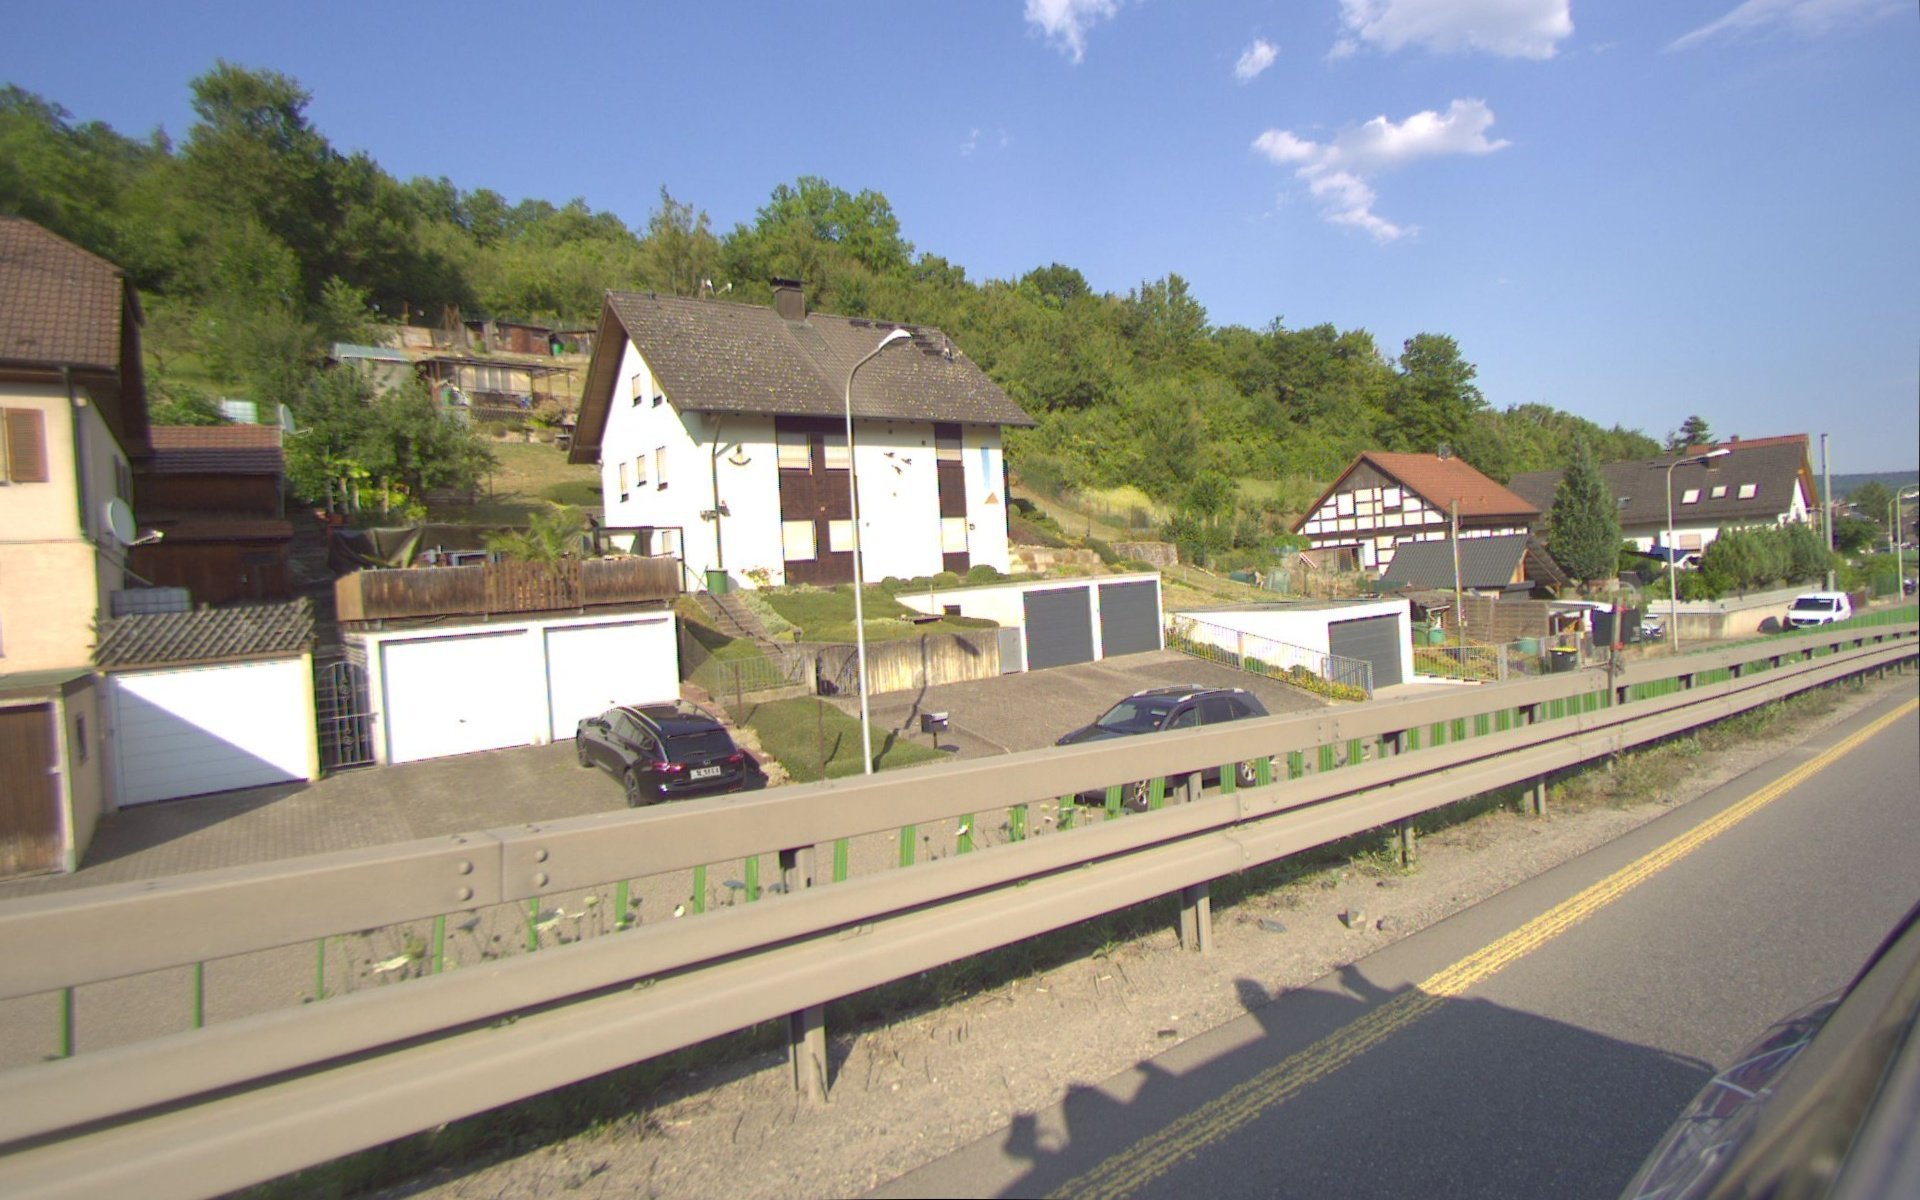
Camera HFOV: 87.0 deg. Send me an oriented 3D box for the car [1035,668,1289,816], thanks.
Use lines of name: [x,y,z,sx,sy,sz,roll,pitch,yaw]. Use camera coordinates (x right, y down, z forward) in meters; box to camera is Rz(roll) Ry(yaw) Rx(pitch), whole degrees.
car: [3.631,2.351,17.817,4.415,1.806,1.868,-3,2,-36]

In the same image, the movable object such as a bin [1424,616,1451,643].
movable object such as a bin: [17.283,1.055,36.628,0.668,0.912,0.688,-1,1,-40]

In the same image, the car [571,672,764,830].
car: [-5.357,2.520,18.126,1.963,1.542,4.513,-3,8,-35]

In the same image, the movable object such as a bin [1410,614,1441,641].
movable object such as a bin: [16.472,0.968,35.776,0.668,0.912,0.791,-1,1,-40]

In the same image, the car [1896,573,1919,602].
car: [67.579,-0.895,71.178,3.928,2.039,1.998,-1,1,-39]

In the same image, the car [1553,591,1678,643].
car: [27.125,0.649,41.965,1.718,1.861,3.999,-2,4,-37]

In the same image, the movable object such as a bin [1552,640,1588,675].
movable object such as a bin: [18.840,1.772,31.268,0.665,1.014,0.723,-1,-1,-39]

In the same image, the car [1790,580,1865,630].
car: [38.209,0.192,44.536,4.210,1.966,1.823,-3,1,-40]
